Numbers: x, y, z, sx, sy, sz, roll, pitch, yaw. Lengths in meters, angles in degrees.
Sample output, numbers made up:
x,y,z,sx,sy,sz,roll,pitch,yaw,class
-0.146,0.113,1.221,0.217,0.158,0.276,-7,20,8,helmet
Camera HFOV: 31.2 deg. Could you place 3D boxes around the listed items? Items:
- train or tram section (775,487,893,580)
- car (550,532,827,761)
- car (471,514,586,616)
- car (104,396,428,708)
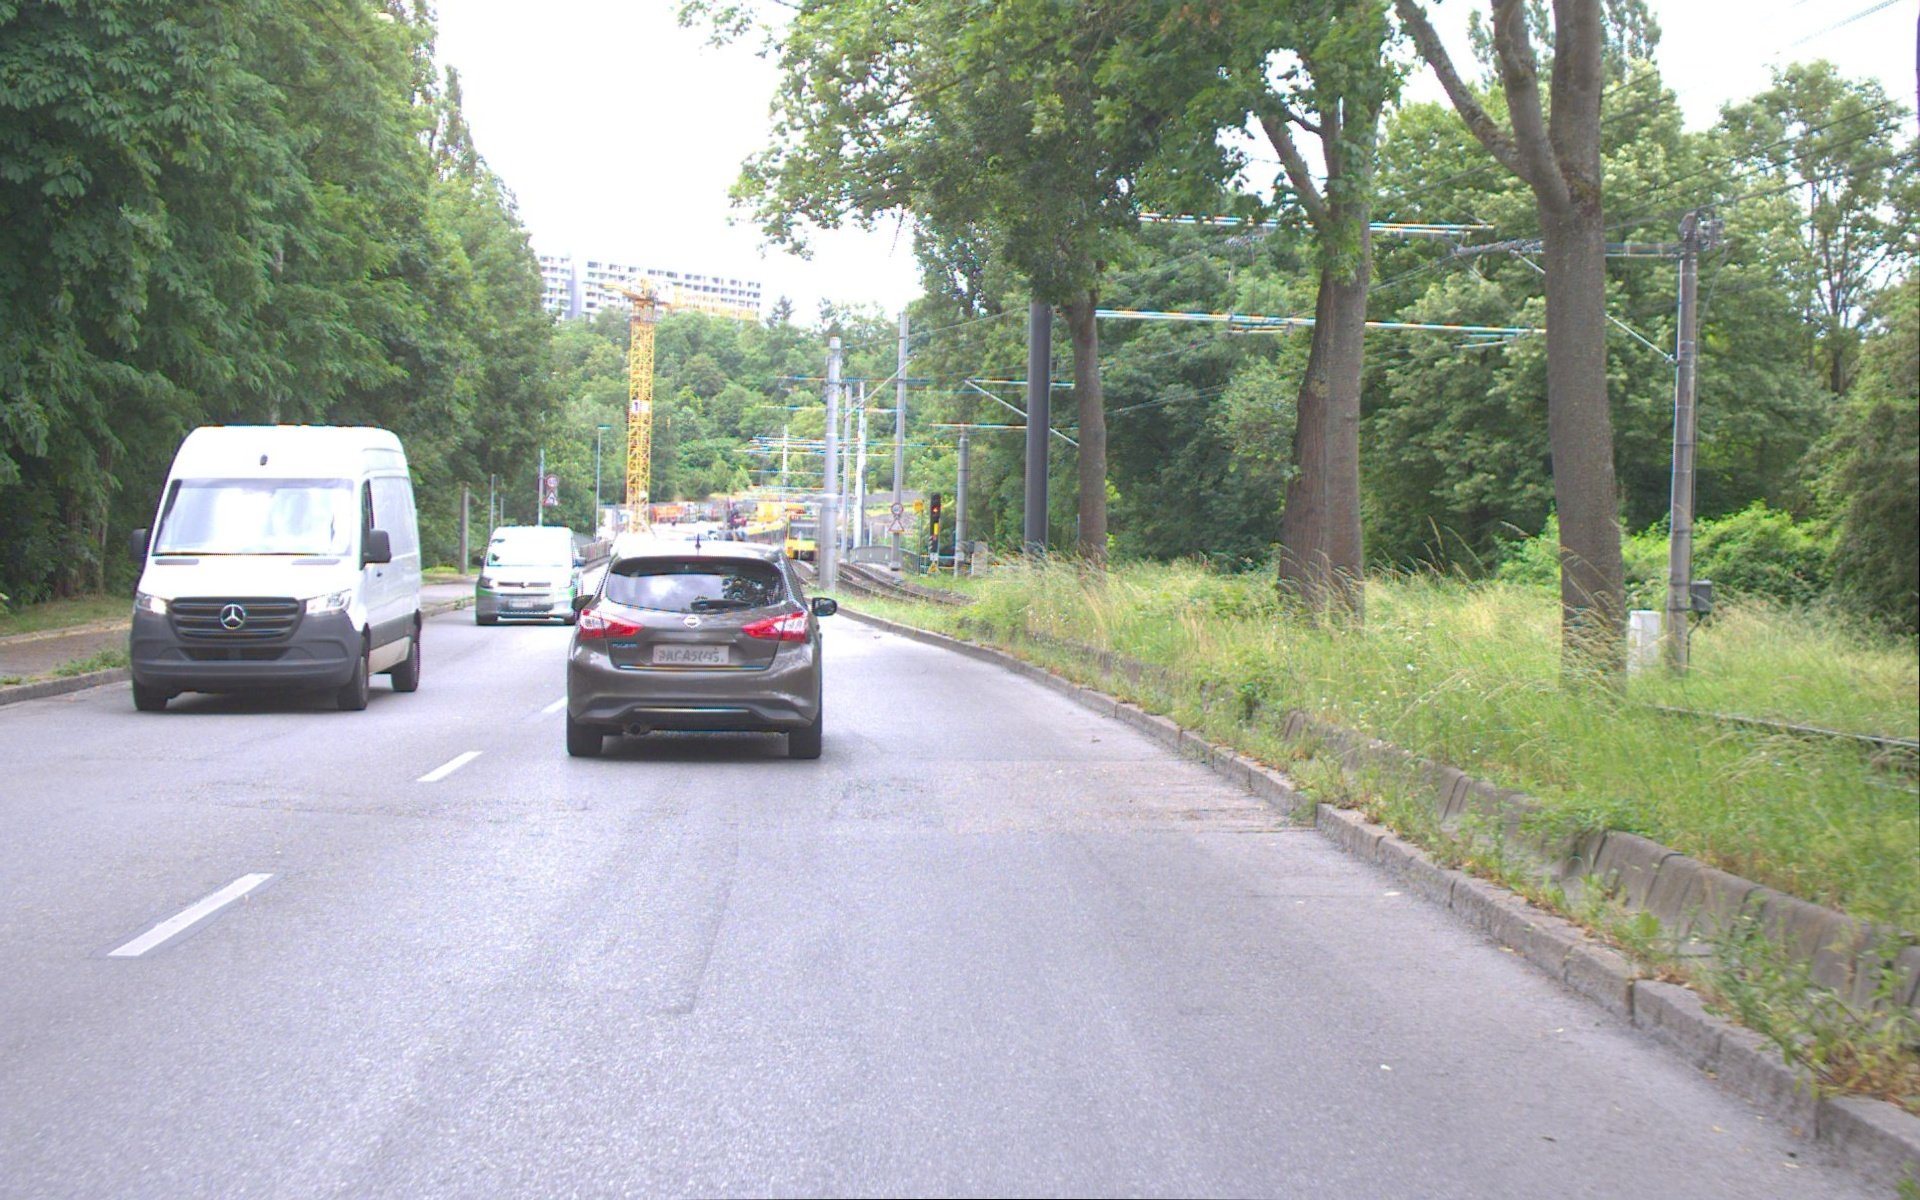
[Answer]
x,y,z,sx,sy,sz,roll,pitch,yaw,class
-8.431,-4.207,225.498,3.027,5.165,23.061,3,-2,-13,train or tram section
-1.989,0.289,25.071,1.829,1.504,4.001,1,1,-5,car
-7.908,-0.669,63.289,1.856,1.793,4.557,0,1,-4,car
-6.337,-0.465,32.104,1.993,2.617,5.895,1,1,-2,car
